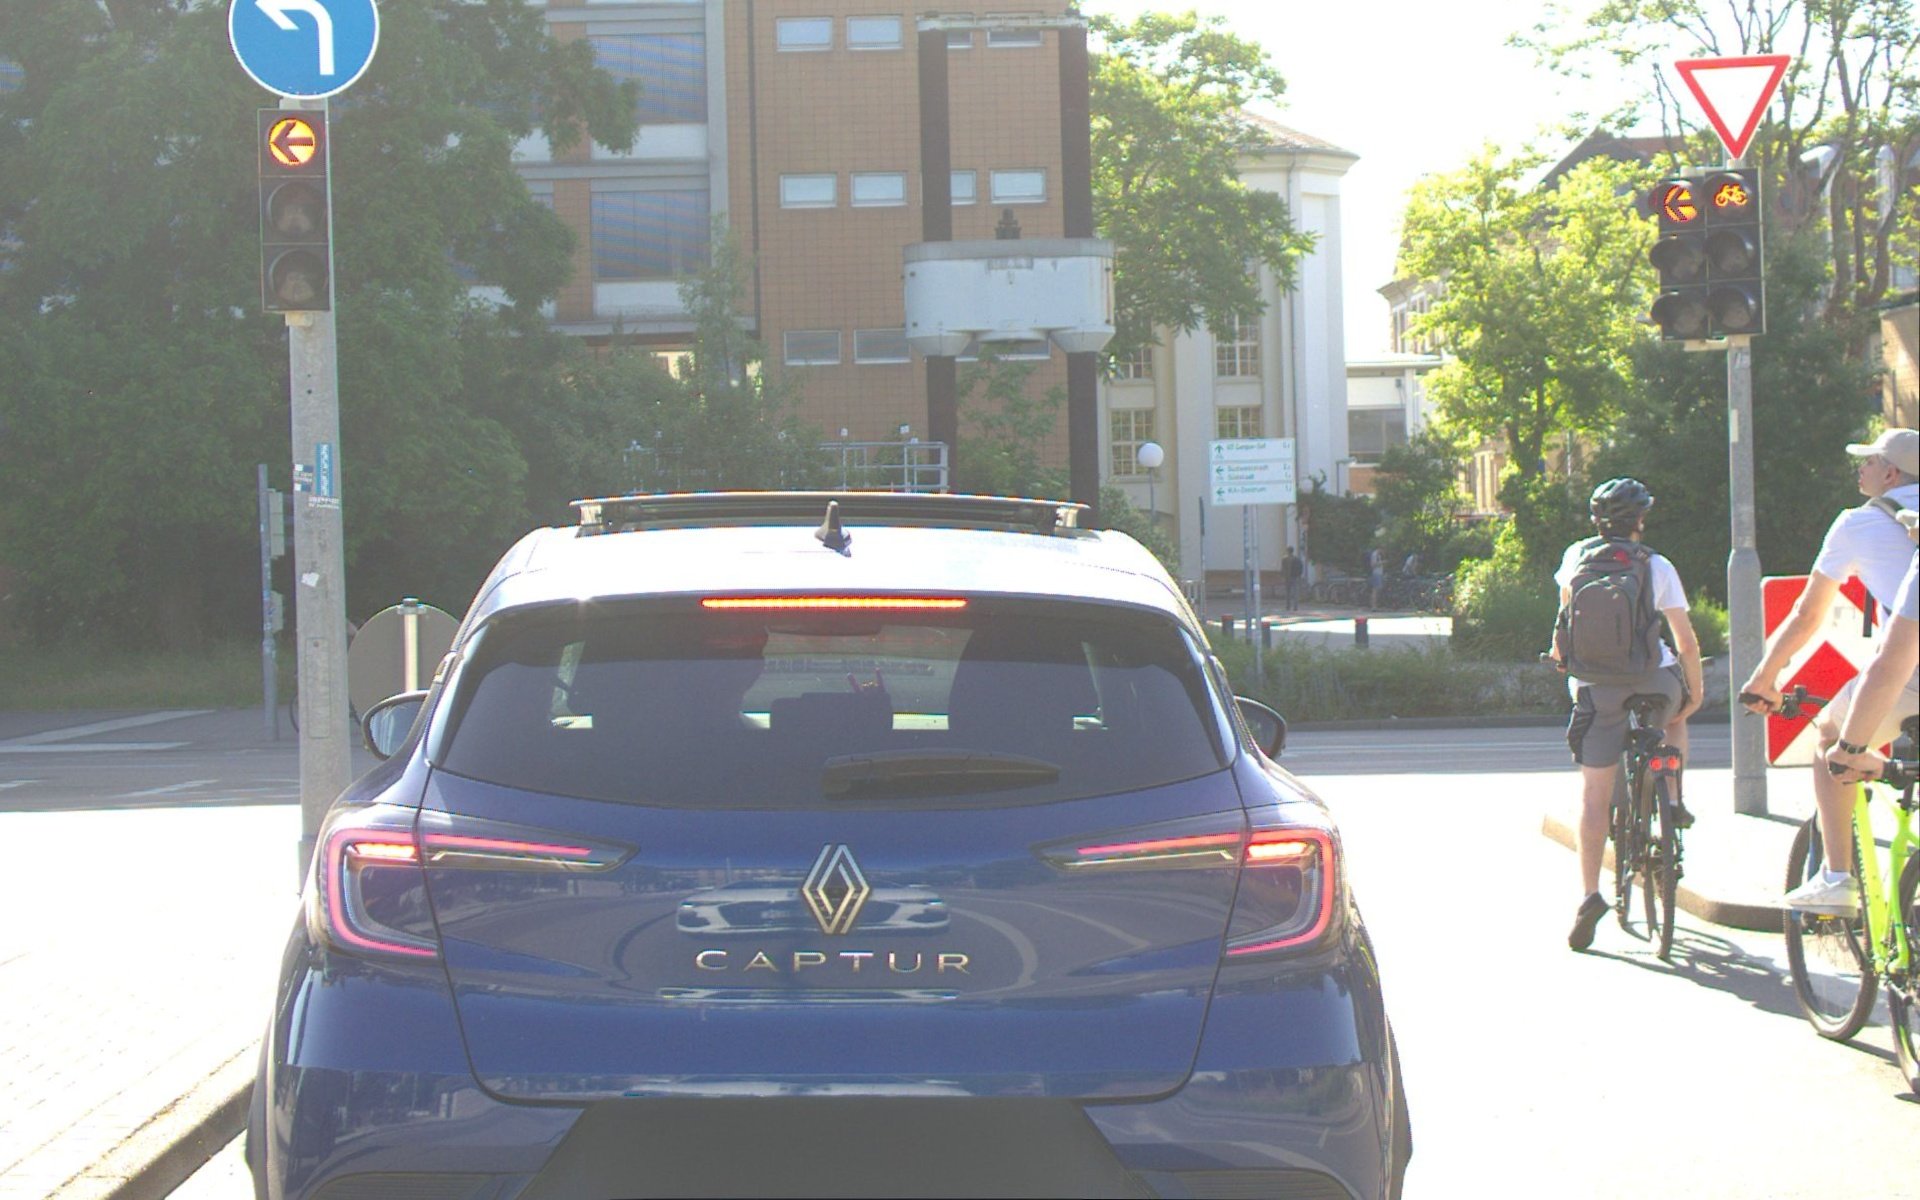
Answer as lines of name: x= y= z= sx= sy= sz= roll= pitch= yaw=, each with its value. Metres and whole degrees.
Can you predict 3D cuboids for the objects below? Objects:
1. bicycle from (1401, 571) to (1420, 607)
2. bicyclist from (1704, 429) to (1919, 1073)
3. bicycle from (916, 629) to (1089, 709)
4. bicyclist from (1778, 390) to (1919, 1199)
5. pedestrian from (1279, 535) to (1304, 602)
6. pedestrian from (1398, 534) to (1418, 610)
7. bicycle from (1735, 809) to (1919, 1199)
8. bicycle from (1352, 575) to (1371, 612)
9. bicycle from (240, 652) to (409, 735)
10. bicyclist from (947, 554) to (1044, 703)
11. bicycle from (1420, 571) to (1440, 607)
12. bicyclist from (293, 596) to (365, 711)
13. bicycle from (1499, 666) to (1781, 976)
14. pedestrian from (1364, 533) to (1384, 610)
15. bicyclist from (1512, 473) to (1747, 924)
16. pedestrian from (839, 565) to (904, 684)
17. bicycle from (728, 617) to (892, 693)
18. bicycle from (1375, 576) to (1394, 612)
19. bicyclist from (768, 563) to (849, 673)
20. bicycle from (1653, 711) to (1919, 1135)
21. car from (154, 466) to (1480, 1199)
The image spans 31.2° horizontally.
bicycle: x=12.374 y=-0.310 z=94.403 sx=0.405 sy=0.969 sz=1.683 roll=1 pitch=1 yaw=4
bicyclist: x=2.619 y=0.405 z=9.810 sx=0.645 sy=1.733 sz=1.067 roll=1 pitch=0 yaw=-6
bicycle: x=0.542 y=0.877 z=43.778 sx=2.082 sy=0.927 sz=0.696 roll=-2 pitch=2 yaw=11
bicyclist: x=2.228 y=0.419 z=7.245 sx=0.751 sy=1.663 sz=1.016 roll=1 pitch=0 yaw=1
pedestrian: x=9.216 y=-0.875 z=95.540 sx=0.623 sy=1.849 sz=0.563 roll=-1 pitch=1 yaw=2
pedestrian: x=12.031 y=-0.755 z=92.395 sx=0.475 sy=2.007 sz=0.468 roll=-1 pitch=1 yaw=6
bicycle: x=2.224 y=0.961 z=7.257 sx=0.740 sy=0.893 sz=1.978 roll=1 pitch=1 yaw=1
bicycle: x=10.984 y=-0.183 z=94.081 sx=0.405 sy=0.969 sz=1.683 roll=1 pitch=1 yaw=4
bicycle: x=-8.086 y=1.184 z=43.769 sx=2.005 sy=0.961 sz=0.598 roll=-2 pitch=1 yaw=-27
bicyclist: x=0.457 y=0.360 z=43.753 sx=1.102 sy=1.861 sz=0.652 roll=-1 pitch=1 yaw=10
bicycle: x=12.910 y=-0.303 z=94.417 sx=0.405 sy=0.969 sz=1.683 roll=1 pitch=1 yaw=4
bicyclist: x=-8.038 y=0.671 z=43.787 sx=0.737 sy=1.436 sz=0.598 roll=-1 pitch=1 yaw=-27
bicycle: x=2.507 y=0.779 z=12.901 sx=0.739 sy=0.992 sz=2.173 roll=1 pitch=1 yaw=3
pedestrian: x=10.974 y=-0.756 z=91.043 sx=0.475 sy=2.007 sz=0.523 roll=-1 pitch=1 yaw=6
bicyclist: x=2.504 y=0.353 z=12.946 sx=0.726 sy=1.623 sz=0.969 roll=1 pitch=0 yaw=4
pedestrian: x=-1.203 y=0.335 z=46.817 sx=0.737 sy=1.598 sz=0.598 roll=-1 pitch=1 yaw=12
bicycle: x=-1.993 y=0.729 z=45.690 sx=2.077 sy=0.961 sz=0.598 roll=-1 pitch=1 yaw=11
bicycle: x=11.606 y=-0.174 z=94.037 sx=0.405 sy=0.969 sz=1.683 roll=1 pitch=1 yaw=4
bicyclist: x=-2.011 y=0.239 z=45.688 sx=0.937 sy=1.424 sz=0.598 roll=-1 pitch=1 yaw=10
bicycle: x=2.608 y=0.863 z=9.822 sx=0.659 sy=0.999 sz=1.970 roll=1 pitch=1 yaw=-6
car: x=-0.272 y=0.612 z=6.696 sx=1.803 sy=1.626 sz=4.000 roll=0 pitch=1 yaw=-2
